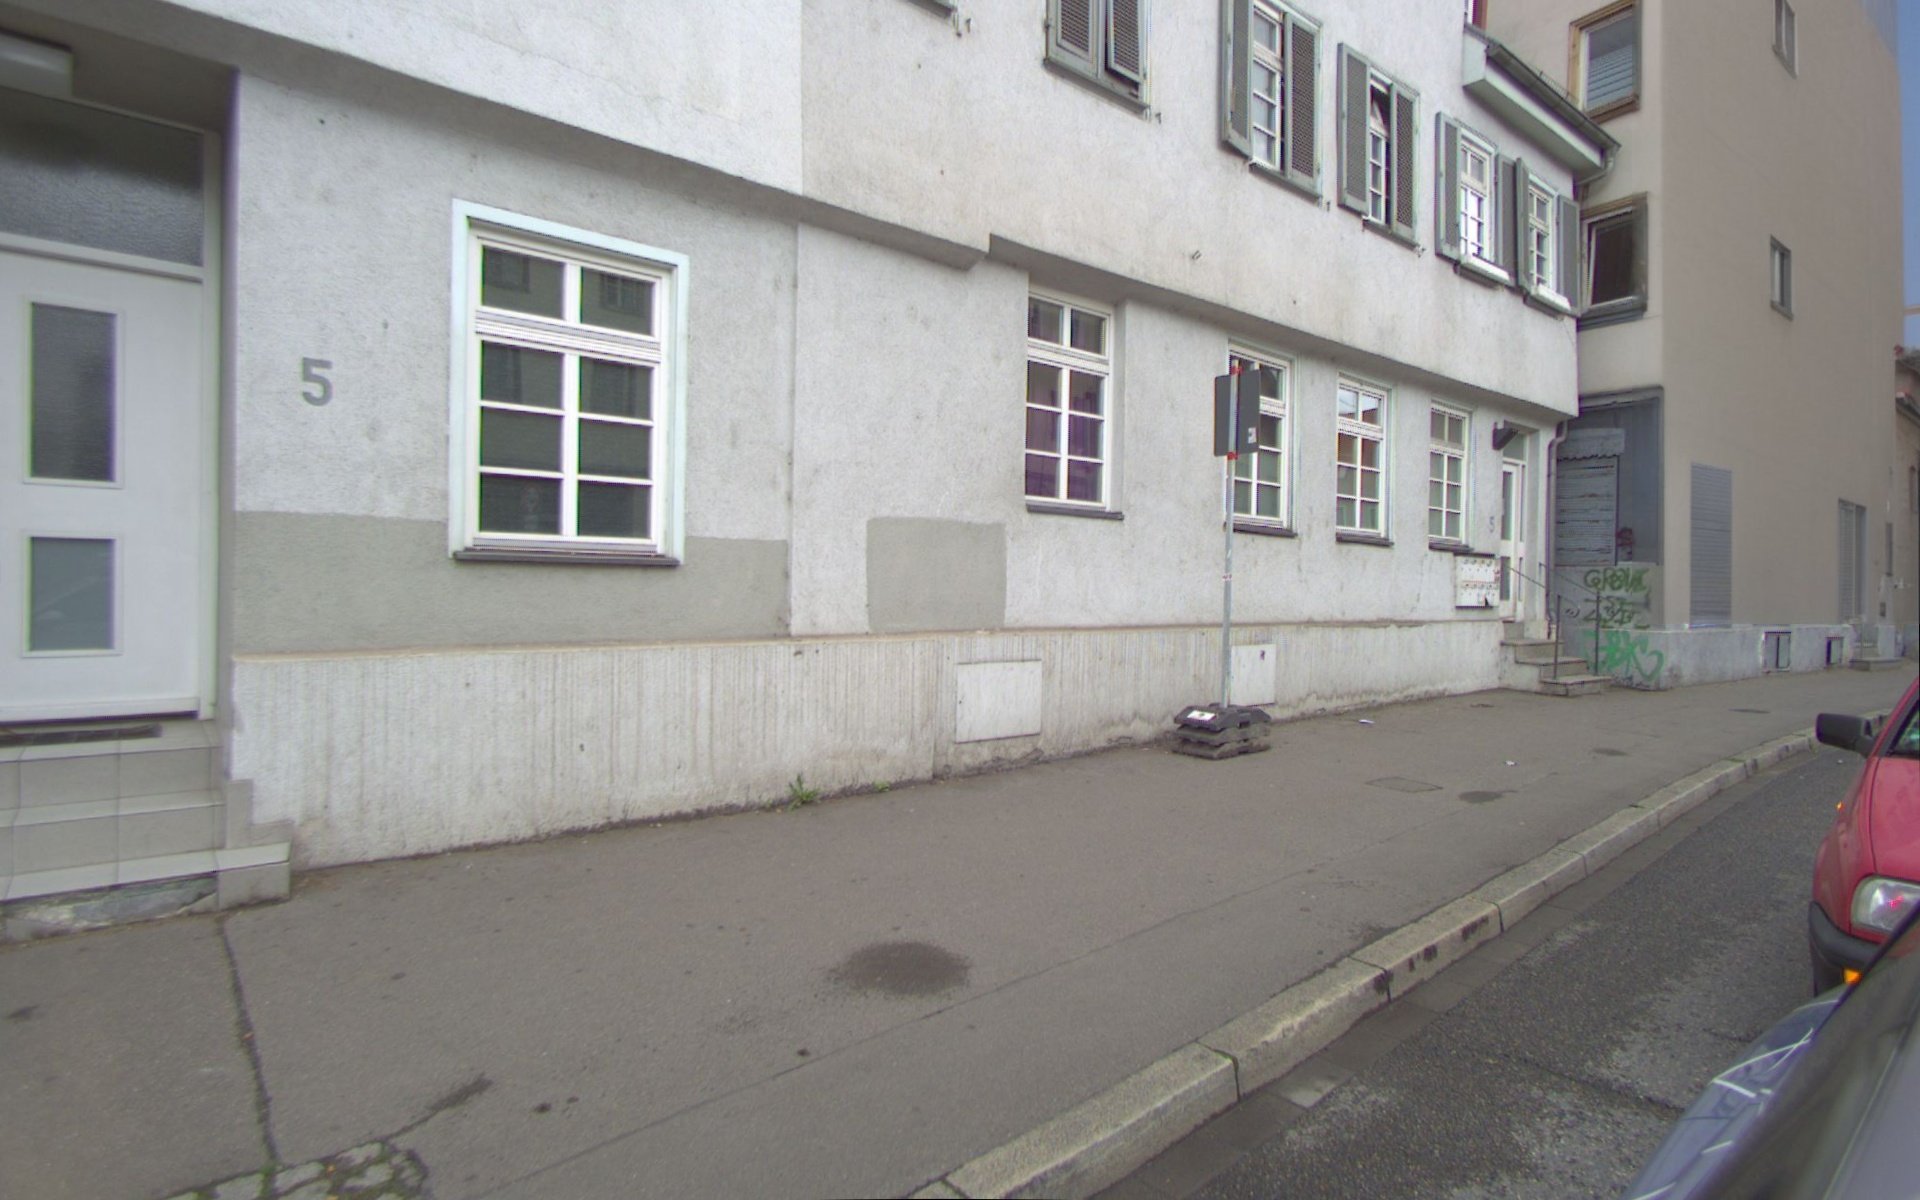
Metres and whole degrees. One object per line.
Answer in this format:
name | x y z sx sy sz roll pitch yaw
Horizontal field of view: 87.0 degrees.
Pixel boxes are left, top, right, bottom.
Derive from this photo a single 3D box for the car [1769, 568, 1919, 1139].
car | 4.405 0.639 3.538 3.931 1.443 1.791 -3 3 -41
